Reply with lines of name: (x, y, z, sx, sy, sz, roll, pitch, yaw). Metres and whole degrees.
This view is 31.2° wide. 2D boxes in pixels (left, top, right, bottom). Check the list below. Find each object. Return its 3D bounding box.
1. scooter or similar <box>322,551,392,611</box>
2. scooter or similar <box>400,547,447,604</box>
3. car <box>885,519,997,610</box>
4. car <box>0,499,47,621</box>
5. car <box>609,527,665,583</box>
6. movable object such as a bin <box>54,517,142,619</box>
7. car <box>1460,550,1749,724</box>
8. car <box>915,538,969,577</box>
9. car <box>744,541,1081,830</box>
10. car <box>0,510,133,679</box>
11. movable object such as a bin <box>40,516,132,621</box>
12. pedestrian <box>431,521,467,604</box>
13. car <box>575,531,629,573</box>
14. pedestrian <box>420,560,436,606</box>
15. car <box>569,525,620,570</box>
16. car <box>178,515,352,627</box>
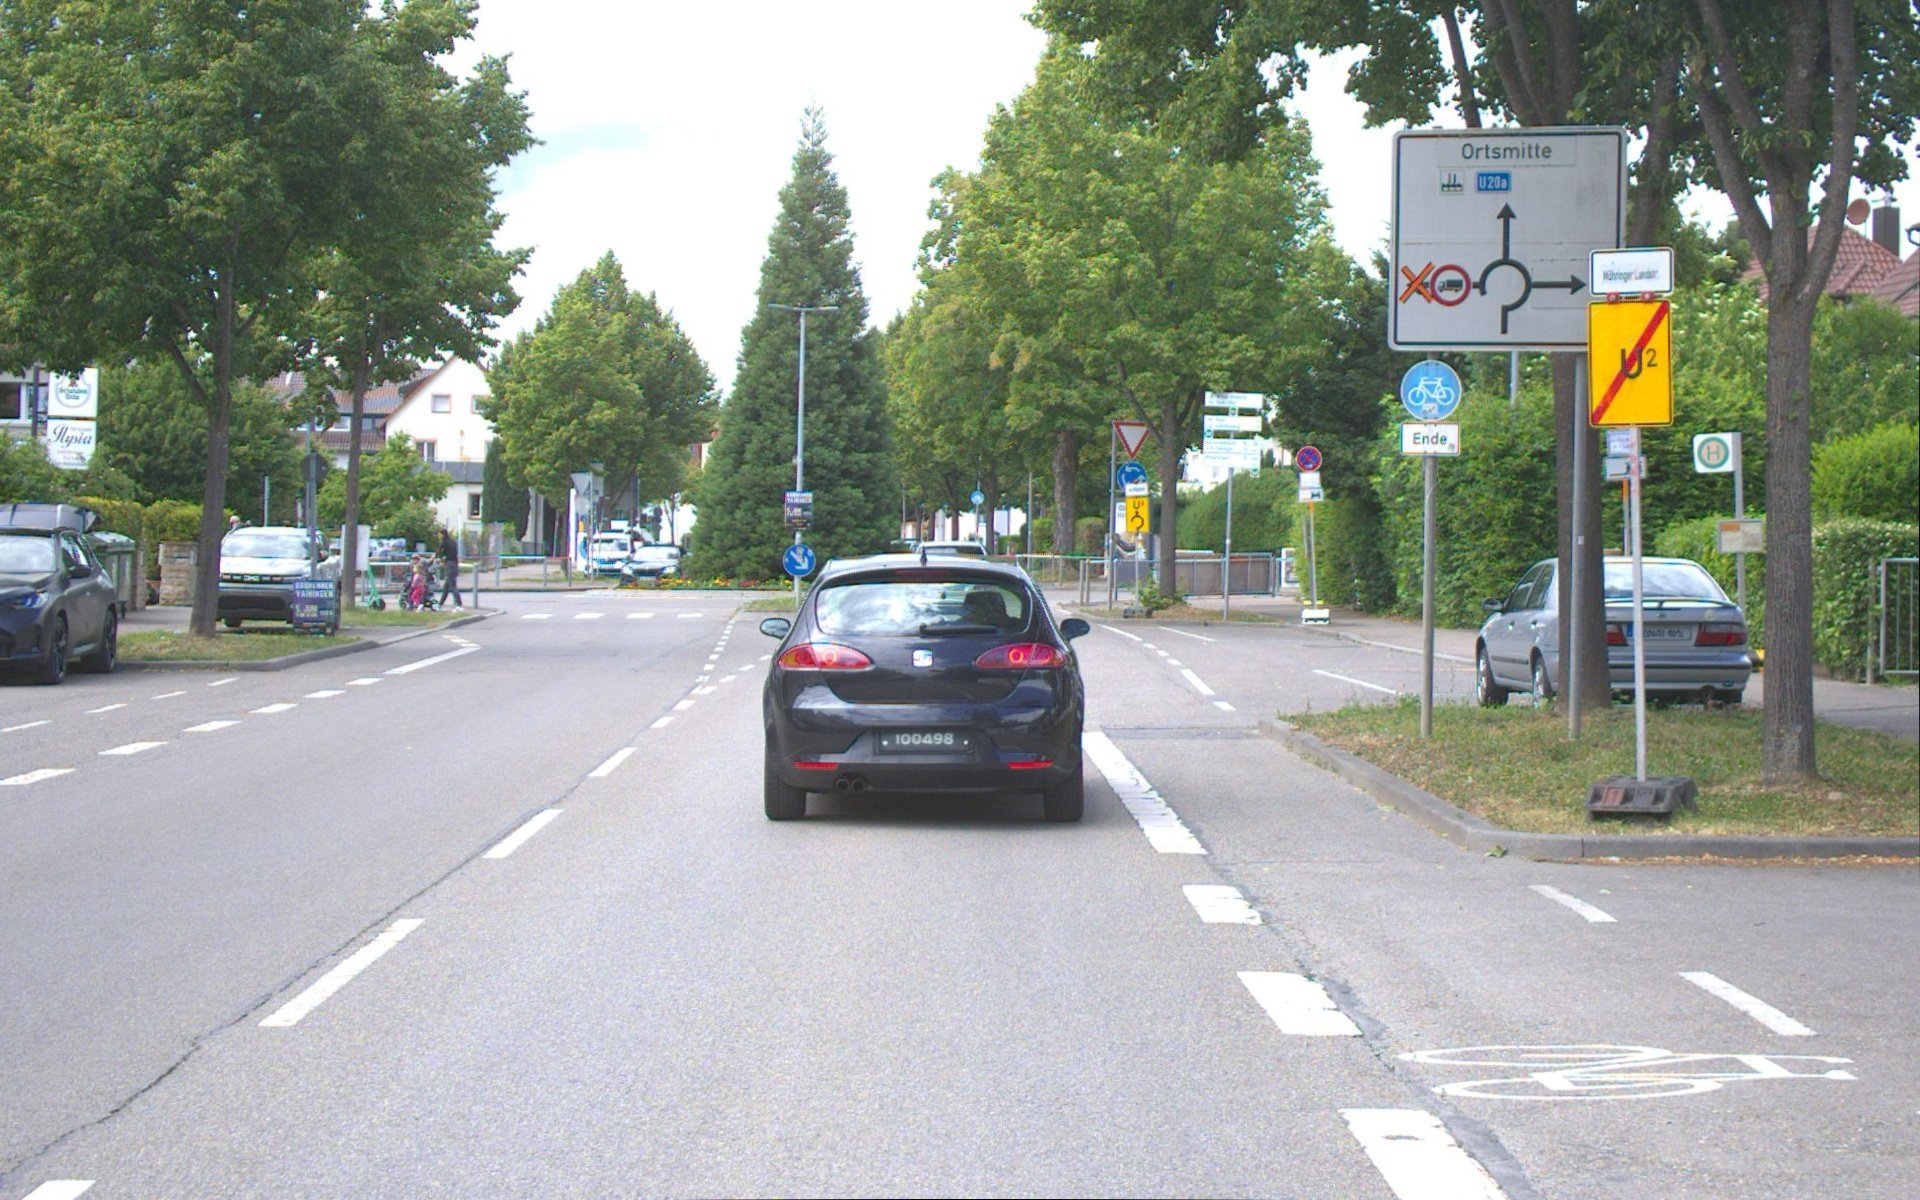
scooter or similar: (-11.610, -0.371, 66.221, 1.284, 1.135, 0.347, 0, 1, -32)
scooter or similar: (-10.820, -0.501, 69.380, 0.406, 1.092, 0.969, 3, 1, -43)
car: (-0.370, -0.674, 64.014, 1.993, 1.607, 4.000, 1, 1, -1)
car: (-16.579, -0.654, 53.925, 3.987, 1.885, 2.000, 1, 1, -1)
car: (-9.587, -1.350, 102.224, 1.568, 1.628, 3.622, 0, 1, -4)
movable object such as a bin: (-14.538, -0.544, 58.011, 1.205, 1.645, 0.998, 3, 0, -3)
car: (5.464, 0.305, 29.628, 1.612, 1.372, 4.387, 0, 0, -1)
car: (-0.695, -1.670, 133.482, 1.474, 1.484, 3.383, 0, 1, -11)
car: (-0.191, 0.410, 19.743, 1.732, 1.481, 4.000, 0, 1, 2)
car: (-10.311, -0.106, 37.356, 1.724, 1.719, 4.565, 1, 1, -3)
movable object such as a bin: (-14.315, -0.514, 56.334, 1.205, 1.645, 0.998, 3, 0, -3)
pedestrian: (-10.235, -0.749, 68.809, 0.515, 1.664, 0.482, 1, 1, 41)
car: (-13.652, -1.846, 131.169, 1.797, 1.596, 4.001, 0, 1, -2)
pedestrian: (-10.503, -0.335, 67.870, 0.238, 0.891, 0.260, 1, 1, -27)
car: (-15.865, -2.286, 149.291, 2.029, 1.964, 4.001, 0, 1, -4)
car: (-10.812, -0.467, 53.757, 1.860, 1.648, 4.294, 1, 1, -1)
